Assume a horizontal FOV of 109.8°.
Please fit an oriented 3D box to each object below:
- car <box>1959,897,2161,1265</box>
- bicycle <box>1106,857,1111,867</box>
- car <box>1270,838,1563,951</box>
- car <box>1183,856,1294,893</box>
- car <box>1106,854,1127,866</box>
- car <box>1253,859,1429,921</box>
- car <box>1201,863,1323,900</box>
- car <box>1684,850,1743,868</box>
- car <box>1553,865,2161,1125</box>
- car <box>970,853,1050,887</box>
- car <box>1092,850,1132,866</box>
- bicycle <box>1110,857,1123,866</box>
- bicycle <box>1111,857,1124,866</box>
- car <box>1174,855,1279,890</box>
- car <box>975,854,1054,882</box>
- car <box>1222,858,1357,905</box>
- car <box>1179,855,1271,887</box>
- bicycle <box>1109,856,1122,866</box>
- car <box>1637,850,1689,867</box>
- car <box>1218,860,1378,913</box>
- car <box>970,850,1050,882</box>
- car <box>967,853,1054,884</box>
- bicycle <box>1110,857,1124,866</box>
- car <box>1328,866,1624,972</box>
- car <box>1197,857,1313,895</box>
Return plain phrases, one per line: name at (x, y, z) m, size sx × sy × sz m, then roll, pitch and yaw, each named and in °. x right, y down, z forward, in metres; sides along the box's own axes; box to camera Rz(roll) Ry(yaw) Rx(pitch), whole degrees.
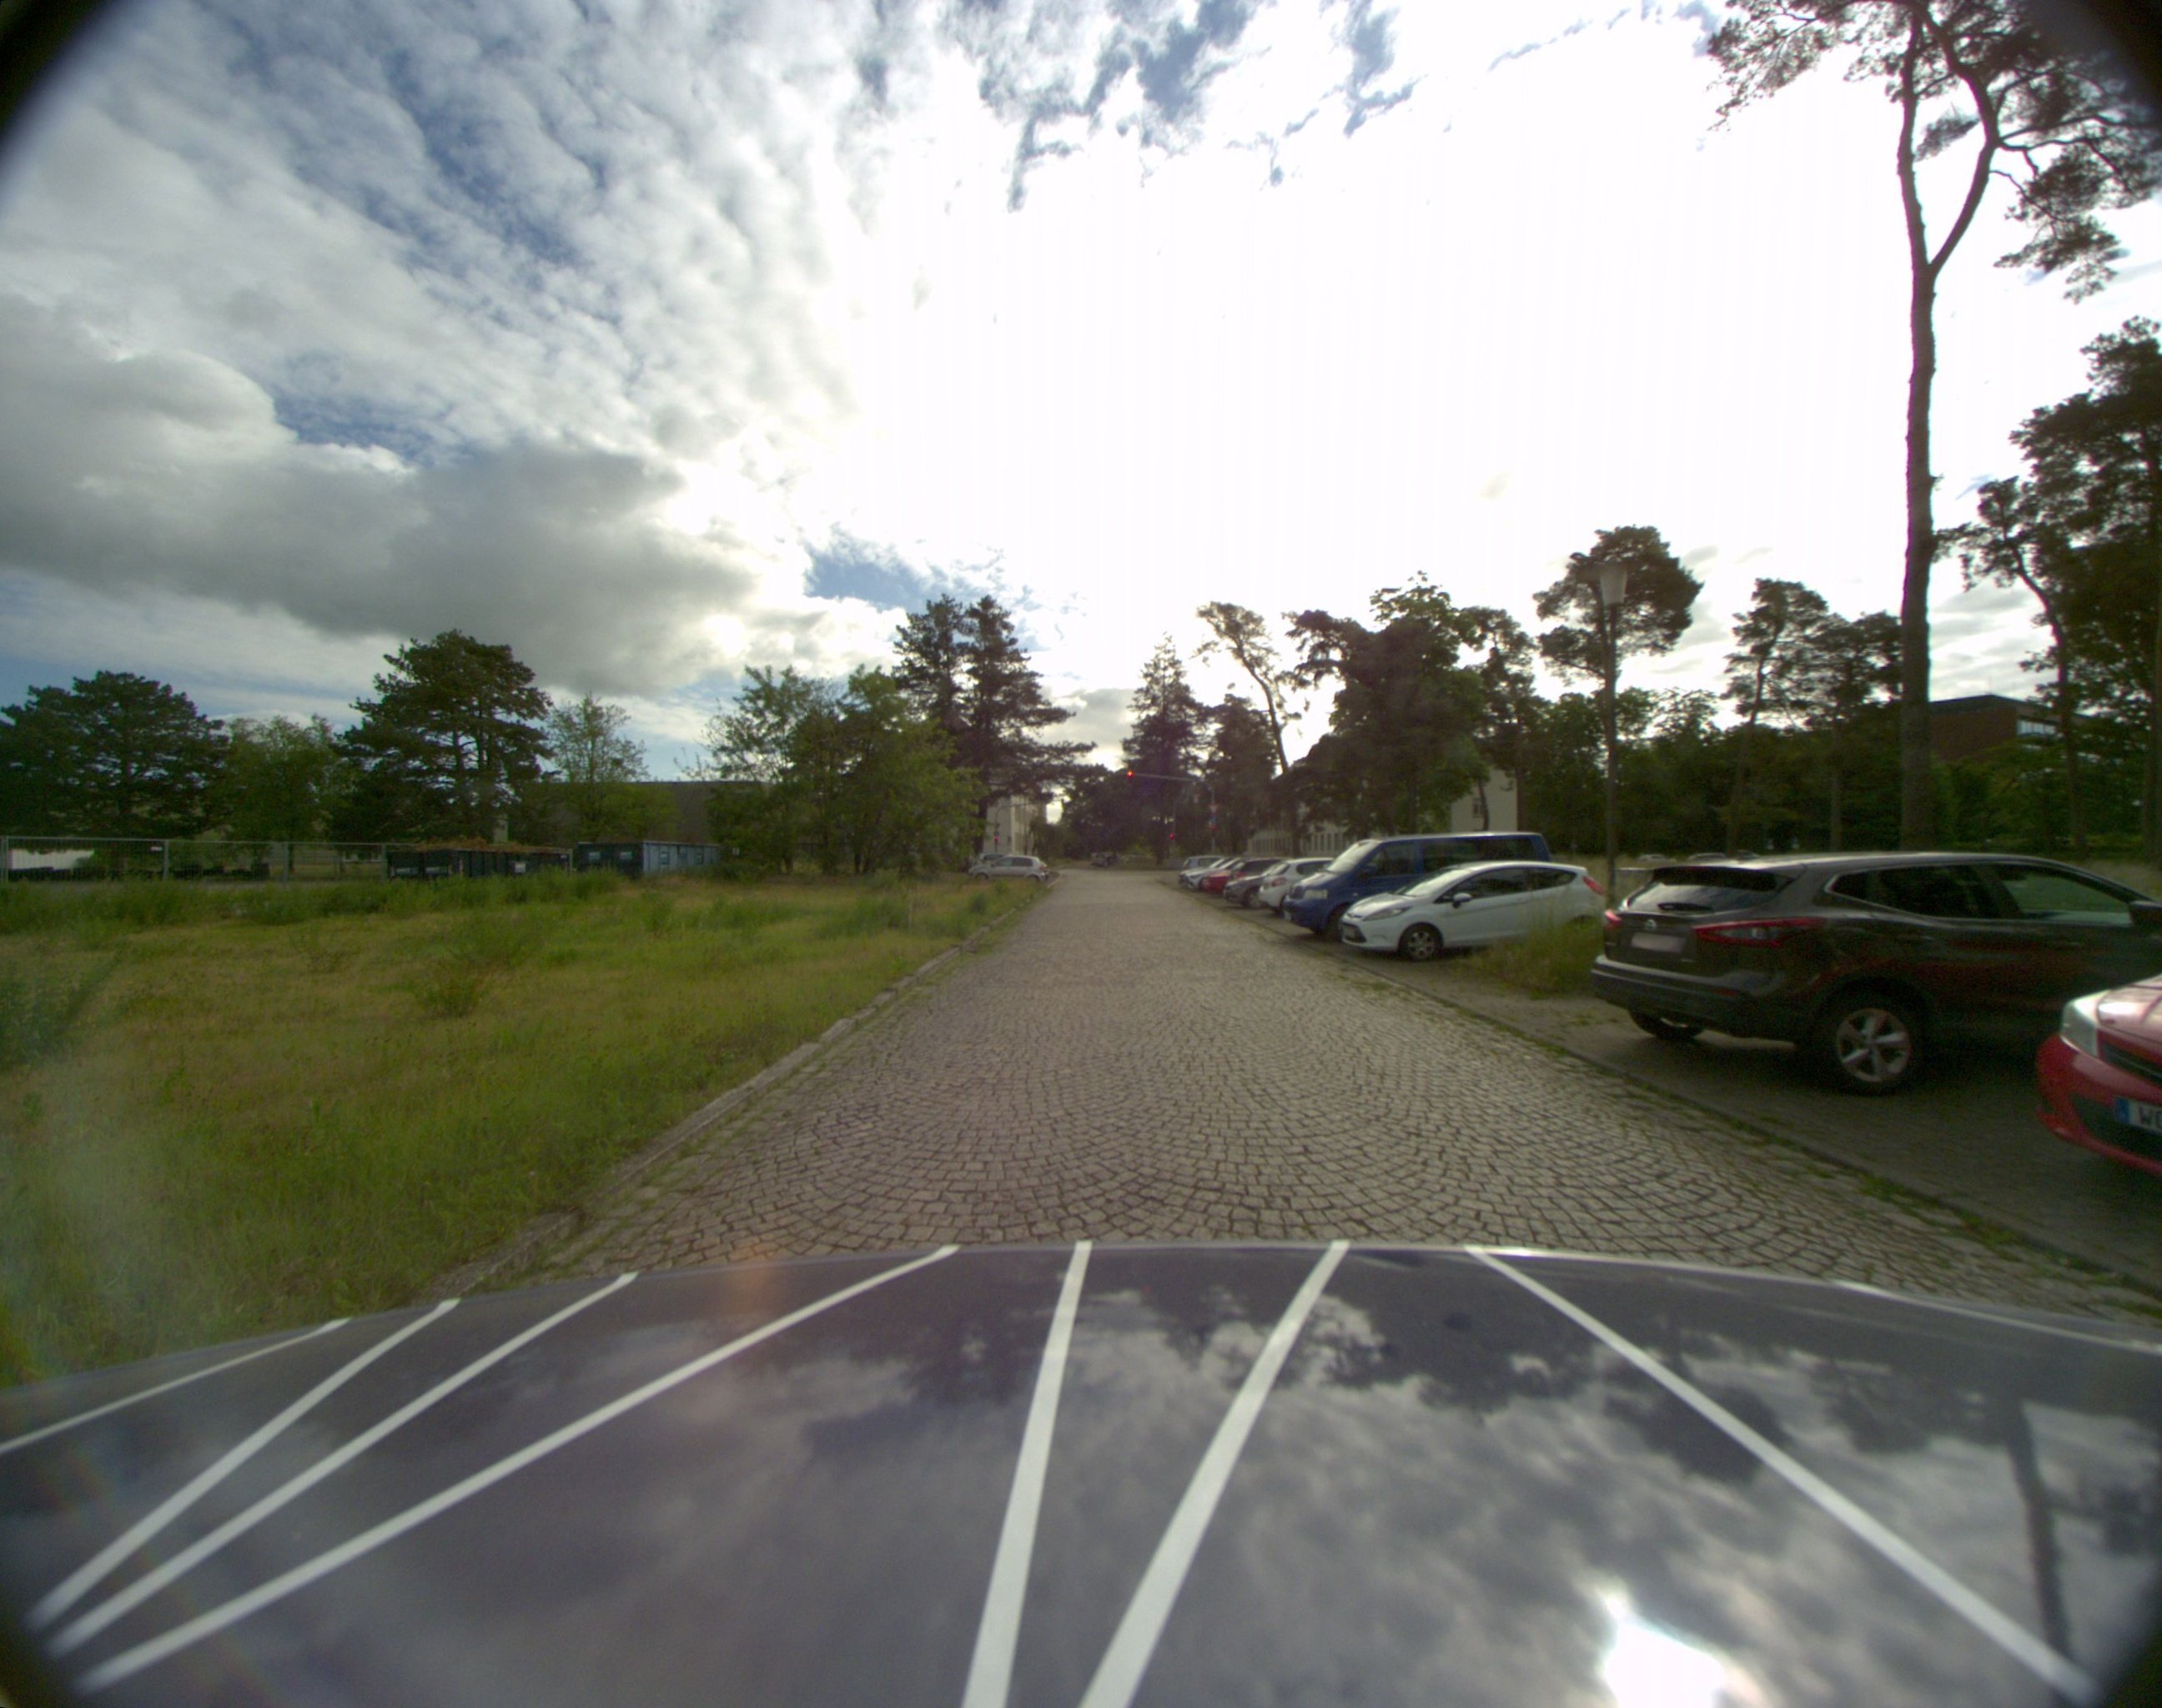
car at (6.383, 0.943, 2.972) m, size 3.825 × 1.477 × 1.761 m, roll -1°, pitch 0°, yaw 1°
bicycle at (3.035, 0.919, 84.215) m, size 0.497 × 1.068 × 1.416 m, roll -3°, pitch 1°, yaw 0°
car at (6.264, 0.724, 14.633) m, size 4.721 × 1.969 × 2.038 m, roll -1°, pitch 0°, yaw 0°
car at (6.779, 0.874, 33.051) m, size 4.447 × 1.447 × 1.949 m, roll -1°, pitch 1°, yaw 2°
car at (4.770, 0.768, 101.958) m, size 2.771 × 1.407 × 1.592 m, roll -3°, pitch 0°, yaw 0°
car at (6.698, 0.914, 19.928) m, size 4.014 × 1.493 × 1.843 m, roll -1°, pitch 0°, yaw 3°
car at (6.673, 0.994, 28.361) m, size 4.141 × 1.276 × 1.764 m, roll -1°, pitch 0°, yaw 1°
car at (60.072, 0.462, 72.174) m, size 4.054 × 1.601 × 1.716 m, roll -1°, pitch 2°, yaw 3°
car at (6.226, 0.903, 5.762) m, size 4.078 × 1.566 × 1.954 m, roll -1°, pitch 0°, yaw 0°
car at (-3.472, 0.779, 37.690) m, size 3.782 × 1.471 × 1.743 m, roll 2°, pitch -1°, yaw -2°
car at (4.252, 0.538, 105.302) m, size 5.172 × 1.905 × 2.034 m, roll -2°, pitch 0°, yaw -12°
bicycle at (4.085, 0.866, 87.195) m, size 1.457 × 1.033 × 0.497 m, roll -3°, pitch 1°, yaw -7°
bicycle at (4.305, 0.877, 89.022) m, size 1.457 × 1.033 × 0.497 m, roll -3°, pitch 1°, yaw -4°
car at (6.792, 0.835, 35.736) m, size 4.513 × 1.528 × 1.870 m, roll -1°, pitch 1°, yaw -2°
car at (-3.954, 0.812, 45.666) m, size 4.562 × 1.417 × 1.826 m, roll 2°, pitch 1°, yaw -2°
car at (6.972, 0.894, 25.673) m, size 4.097 × 1.472 × 1.755 m, roll -1°, pitch 0°, yaw 2°
car at (7.189, 0.840, 38.357) m, size 4.339 × 1.462 × 1.827 m, roll -1°, pitch 1°, yaw 2°
bicycle at (4.231, 0.863, 93.906) m, size 1.457 × 1.033 × 0.497 m, roll -3°, pitch 1°, yaw -4°
car at (60.908, 0.459, 79.567) m, size 4.053 × 1.601 × 1.717 m, roll -1°, pitch 2°, yaw 5°
car at (6.407, 0.947, 22.800) m, size 4.314 × 1.472 × 1.731 m, roll -1°, pitch 0°, yaw 3°
car at (-4.009, 0.669, 43.087) m, size 4.342 × 1.565 × 1.826 m, roll 2°, pitch 1°, yaw -4°
car at (-3.691, 0.772, 40.396) m, size 4.377 × 1.397 × 1.796 m, roll 2°, pitch -1°, yaw 0°
bicycle at (4.160, 0.877, 87.990) m, size 1.457 × 1.033 × 0.497 m, roll -3°, pitch 1°, yaw -4°
car at (6.116, 0.967, 12.075) m, size 3.803 × 1.484 × 1.726 m, roll -1°, pitch 0°, yaw -1°
car at (6.972, 0.871, 30.738) m, size 4.264 × 1.447 × 1.855 m, roll -1°, pitch 0°, yaw 1°
